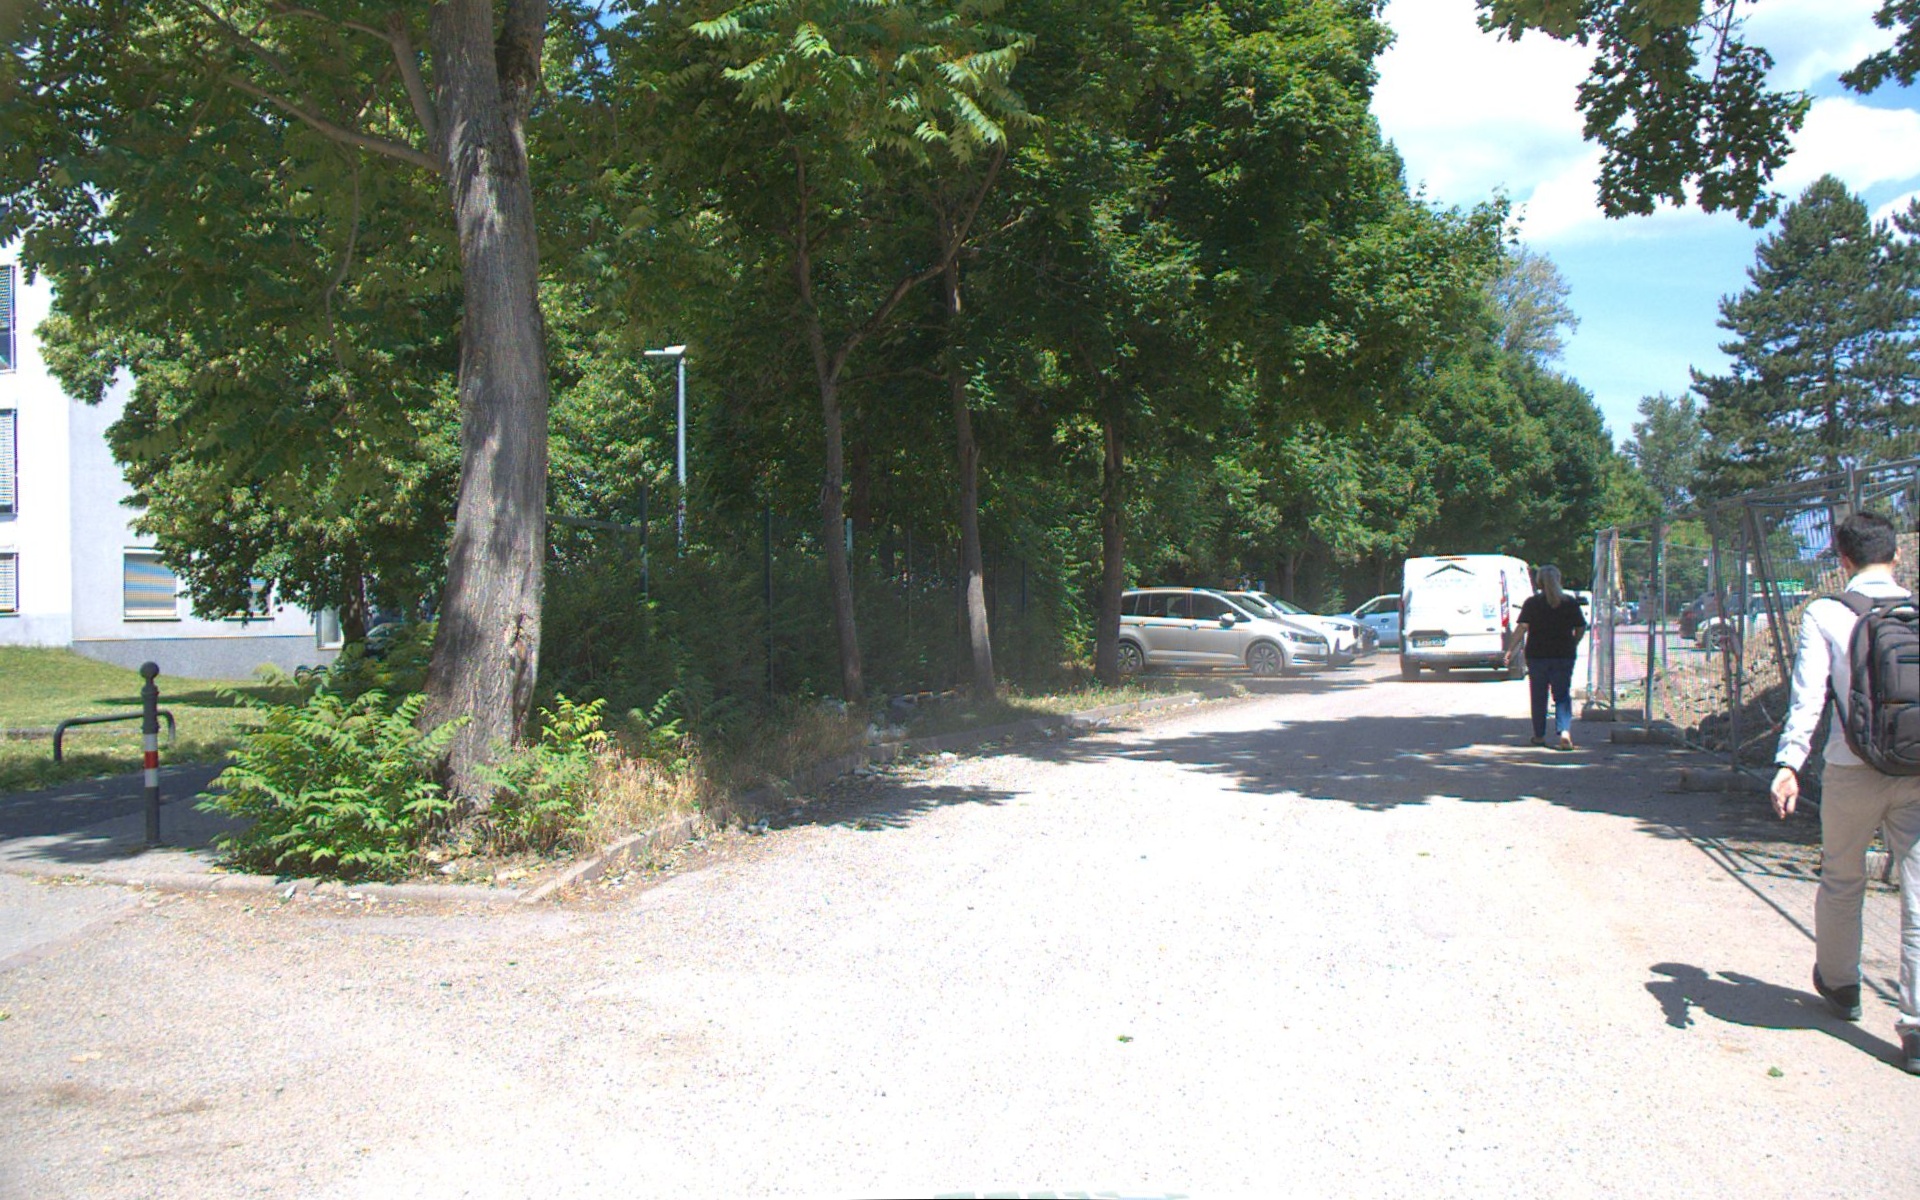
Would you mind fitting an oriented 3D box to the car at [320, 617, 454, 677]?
[{"bbox_3d":[-16.771,1.342,48.558,1.635,1.649,3.625,-1,0,26],"label":"car"}]

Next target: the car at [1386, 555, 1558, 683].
[{"bbox_3d":[8.829,0.289,28.269,1.935,1.981,4.574,-1,0,28],"label":"car"}]

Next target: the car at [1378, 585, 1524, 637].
[{"bbox_3d":[16.298,0.367,54.943,4.417,1.625,1.724,-1,1,26],"label":"car"}]

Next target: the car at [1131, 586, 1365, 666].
[{"bbox_3d":[5.890,0.524,33.904,4.417,1.558,1.724,-1,0,26],"label":"car"}]

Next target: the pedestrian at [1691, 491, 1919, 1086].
[{"bbox_3d":[3.015,0.548,5.408,0.855,1.759,1.081,-1,0,8],"label":"pedestrian"}]

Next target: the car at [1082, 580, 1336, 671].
[{"bbox_3d":[4.755,0.517,31.641,4.418,1.637,1.997,-1,-2,27],"label":"car"}]

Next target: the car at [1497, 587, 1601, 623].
[{"bbox_3d":[27.602,0.219,77.566,4.417,1.625,1.724,-1,0,26],"label":"car"}]

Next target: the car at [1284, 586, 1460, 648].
[{"bbox_3d":[11.269,0.465,45.287,4.417,1.625,1.724,-1,1,26],"label":"car"}]

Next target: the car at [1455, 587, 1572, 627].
[{"bbox_3d":[22.925,0.298,68.553,4.417,1.574,1.724,-1,1,26],"label":"car"}]

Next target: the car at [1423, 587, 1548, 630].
[{"bbox_3d":[20.338,0.341,64.065,4.417,1.626,1.724,0,0,26],"label":"car"}]

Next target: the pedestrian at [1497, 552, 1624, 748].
[{"bbox_3d":[5.370,0.428,14.844,1.013,1.679,1.049,-1,1,19],"label":"pedestrian"}]
